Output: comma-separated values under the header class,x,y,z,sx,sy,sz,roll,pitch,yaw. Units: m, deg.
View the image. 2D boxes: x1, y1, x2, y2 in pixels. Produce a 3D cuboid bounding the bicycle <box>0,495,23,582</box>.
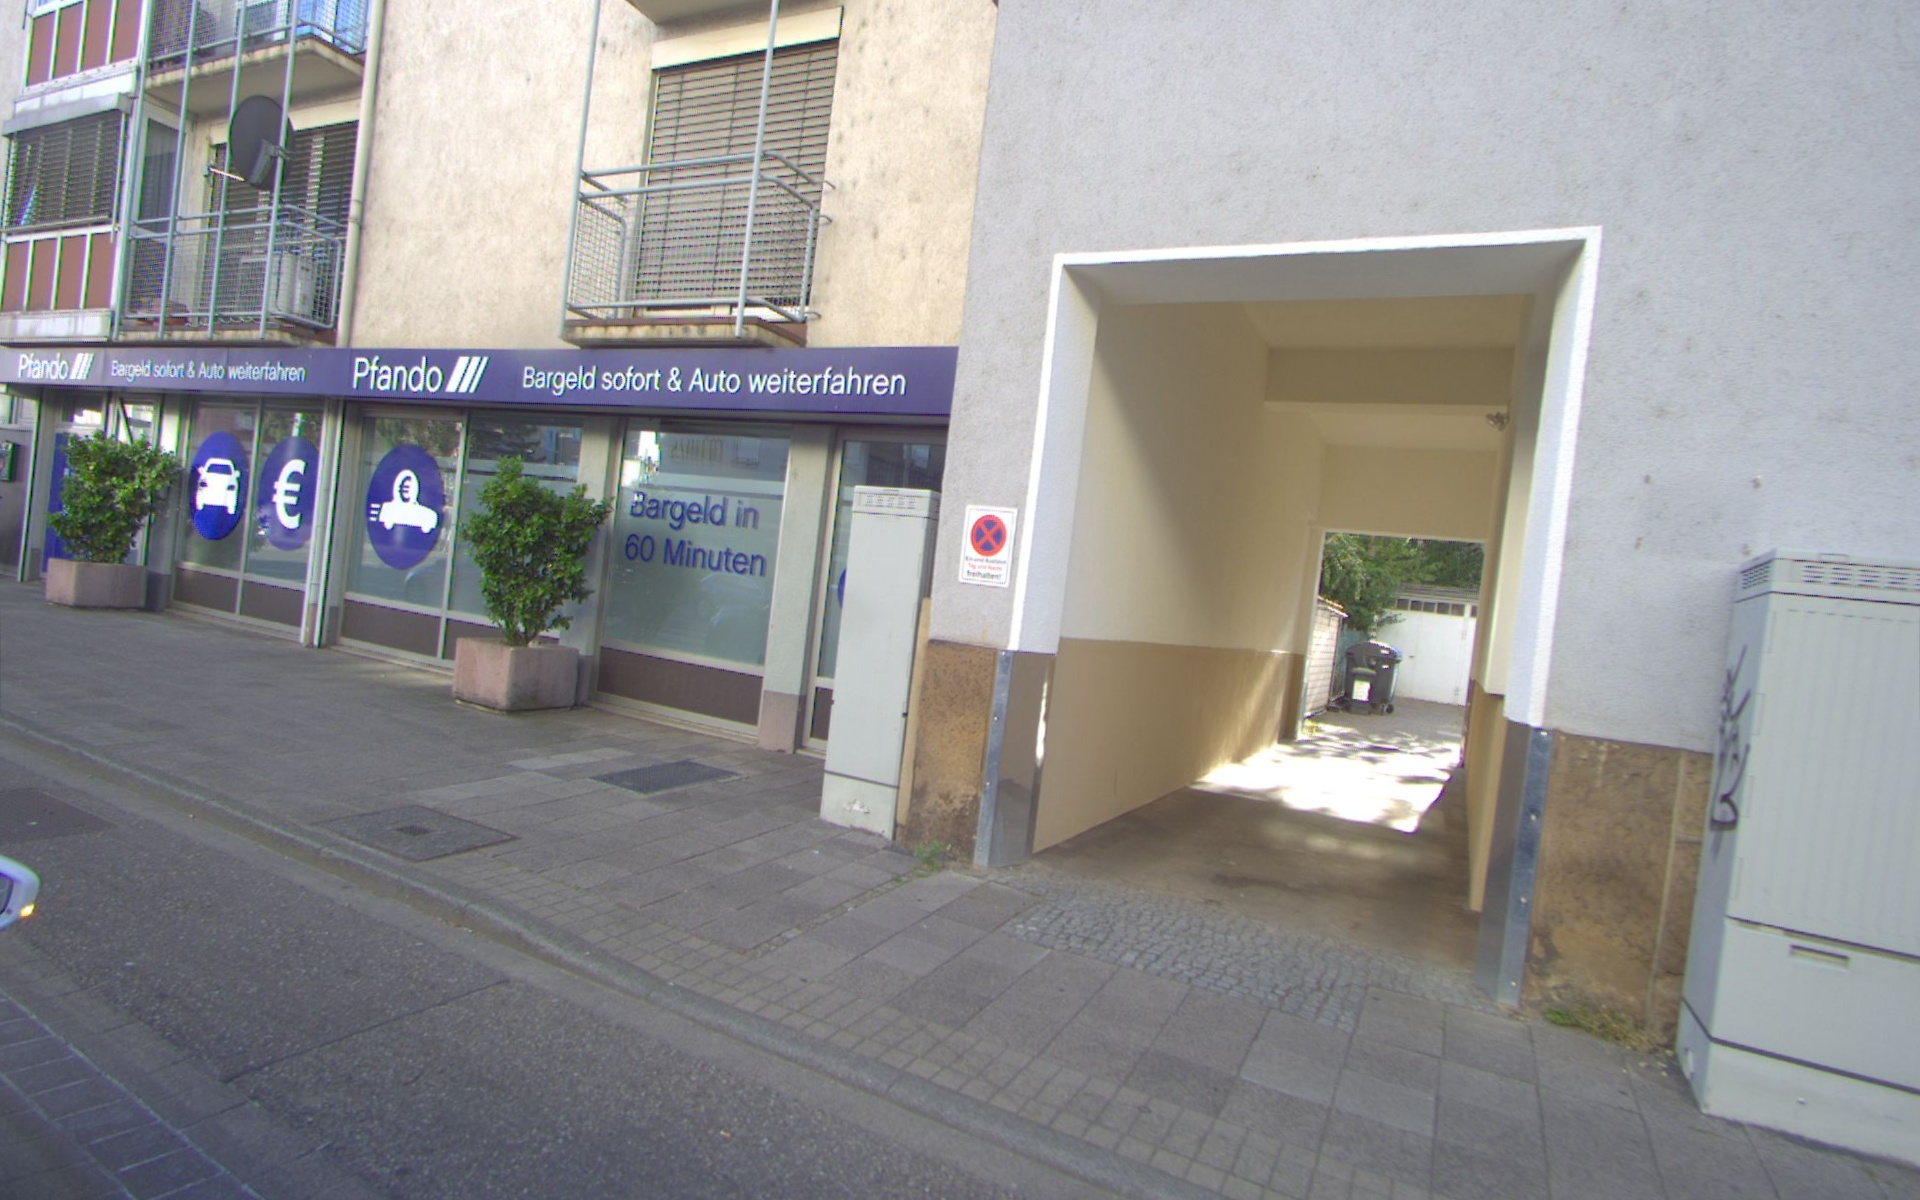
class,x,y,z,sx,sy,sz,roll,pitch,yaw
bicycle,-13.064,-0.886,13.169,1.779,1.086,0.531,7,1,27
